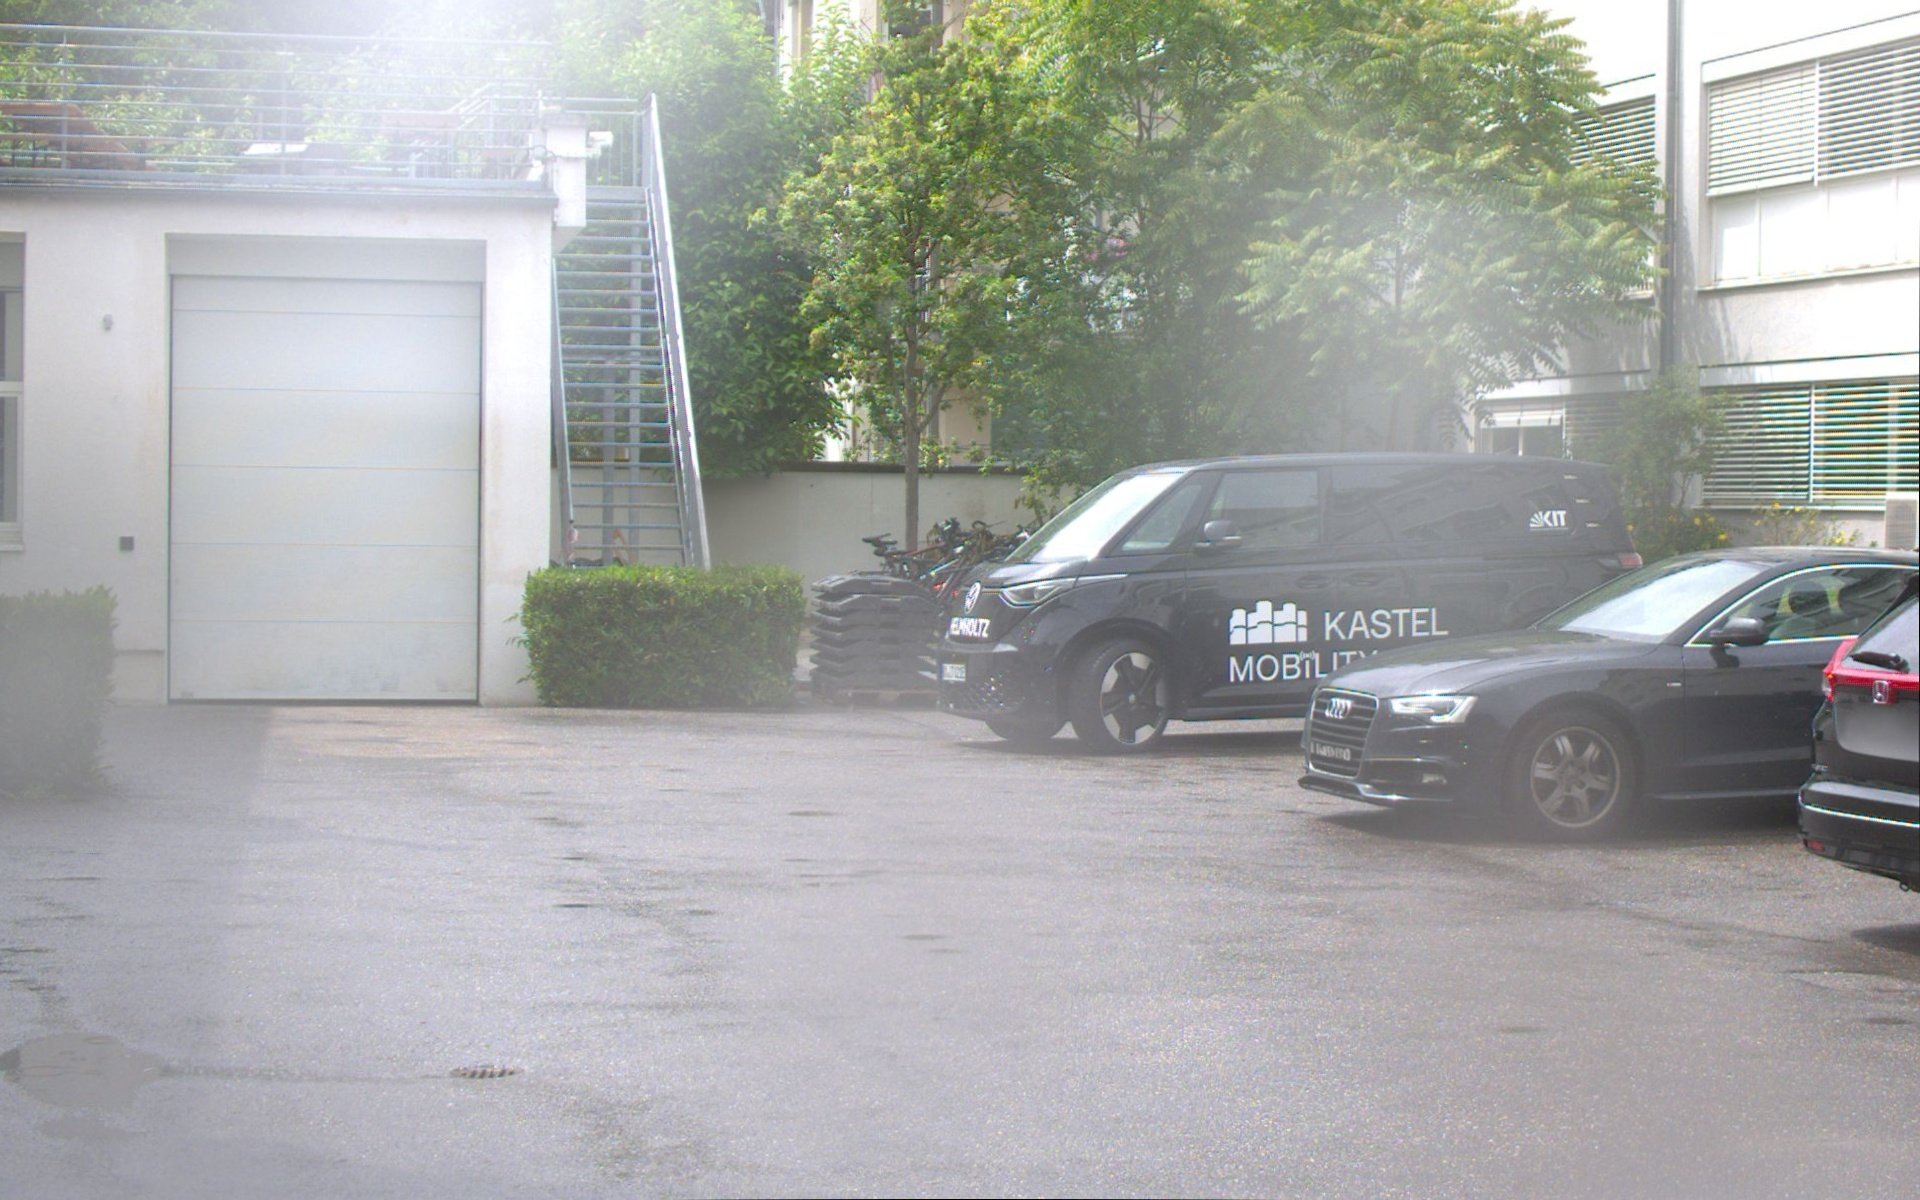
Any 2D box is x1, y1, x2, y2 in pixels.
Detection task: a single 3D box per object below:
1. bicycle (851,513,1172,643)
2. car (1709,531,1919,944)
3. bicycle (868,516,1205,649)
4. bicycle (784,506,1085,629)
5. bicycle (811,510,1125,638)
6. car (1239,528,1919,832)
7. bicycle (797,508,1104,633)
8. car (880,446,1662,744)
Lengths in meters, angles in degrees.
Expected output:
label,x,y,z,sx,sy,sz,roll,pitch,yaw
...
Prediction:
label,x,y,z,sx,sy,sz,roll,pitch,yaw
bicycle,0.477,-0.200,31.886,2.842,1.074,0.690,2,2,-13
car,5.124,0.445,12.746,4.169,1.396,1.940,0,2,-17
bicycle,0.692,-0.158,31.136,2.922,1.074,0.690,2,2,-13
bicycle,-0.252,-0.320,33.916,2.842,1.074,0.690,2,2,-13
bicycle,0.073,-0.247,32.532,2.842,1.074,0.690,2,2,-13
car,3.777,0.341,17.190,4.352,1.344,1.861,0,3,-17
bicycle,-0.090,-0.285,33.228,2.842,1.074,0.690,2,2,-13
car,2.022,-0.095,22.769,4.708,1.827,2.111,-1,2,-17
